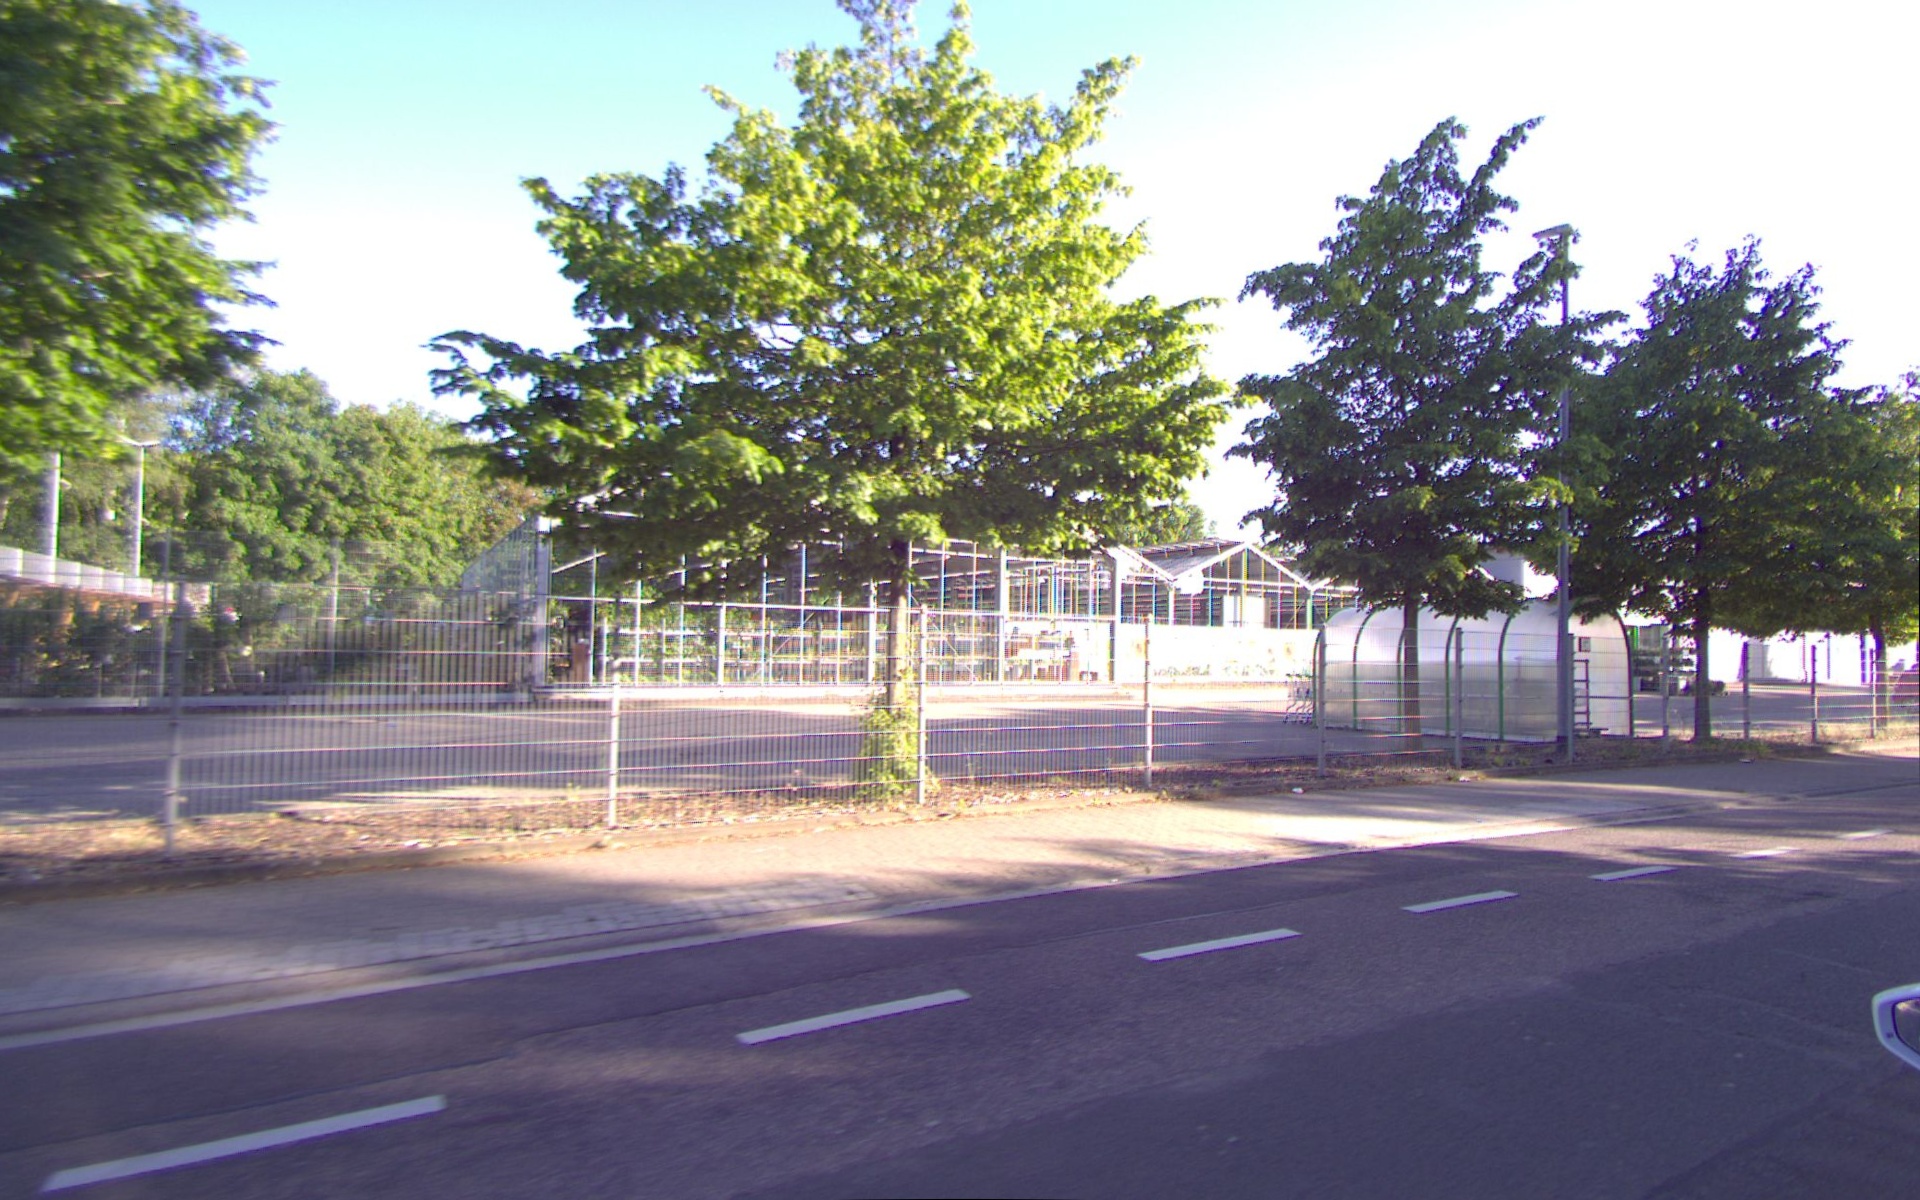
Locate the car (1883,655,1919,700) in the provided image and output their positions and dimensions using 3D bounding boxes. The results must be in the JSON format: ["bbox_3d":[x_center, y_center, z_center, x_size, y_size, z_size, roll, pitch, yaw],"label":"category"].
[{"bbox_3d":[32.739,2.500,32.591,1.785,1.469,3.708,2,-5,-31],"label":"car"}]
